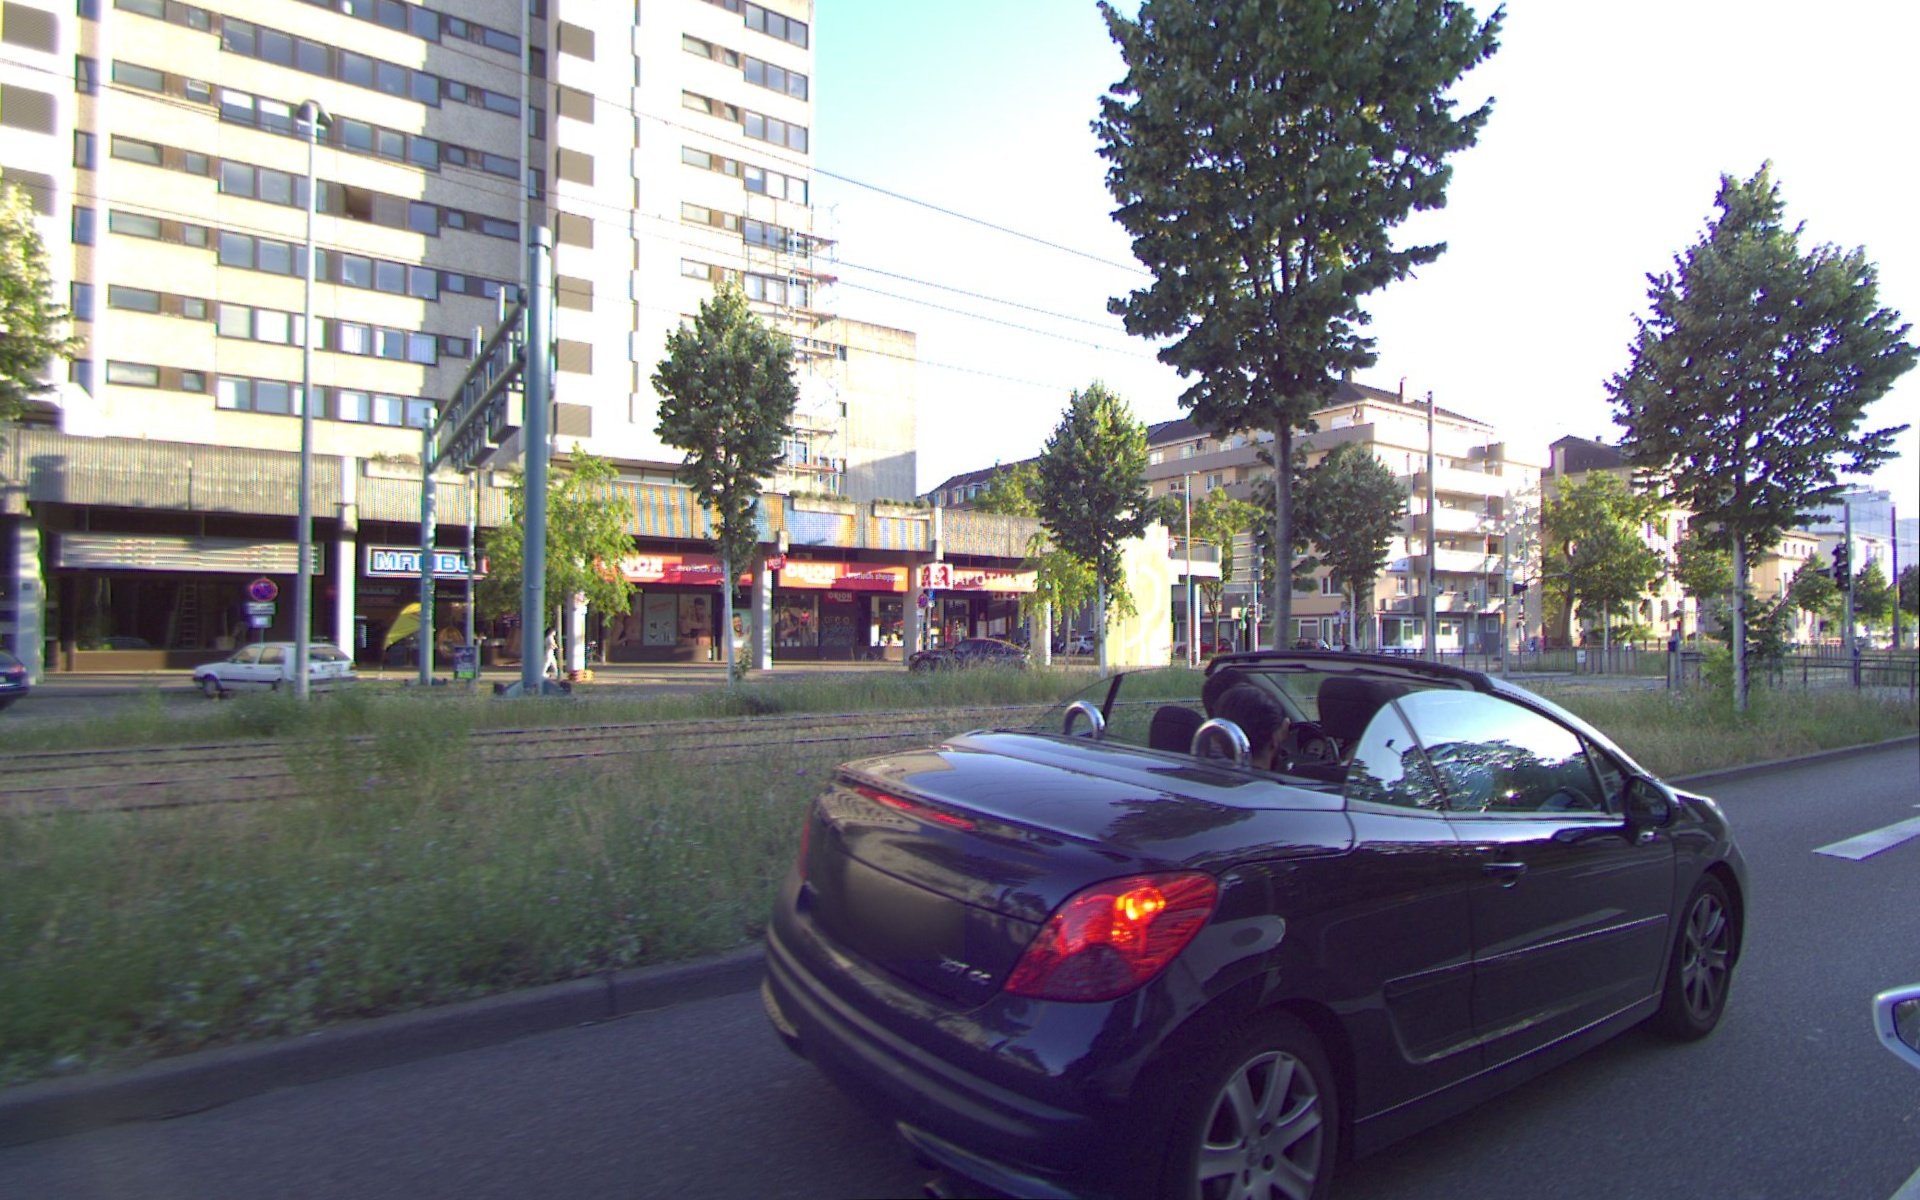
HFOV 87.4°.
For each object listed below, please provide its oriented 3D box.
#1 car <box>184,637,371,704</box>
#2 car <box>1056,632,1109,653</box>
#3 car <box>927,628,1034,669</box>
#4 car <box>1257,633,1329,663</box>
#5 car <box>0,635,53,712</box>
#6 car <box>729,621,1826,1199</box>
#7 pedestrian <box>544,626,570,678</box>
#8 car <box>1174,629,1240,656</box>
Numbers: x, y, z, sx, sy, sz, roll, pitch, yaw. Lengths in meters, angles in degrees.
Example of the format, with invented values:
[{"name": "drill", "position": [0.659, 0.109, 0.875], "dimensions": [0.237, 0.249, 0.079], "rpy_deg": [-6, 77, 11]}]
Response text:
[{"name": "car", "position": [-17.489, 1.759, 25.769], "dimensions": [4.048, 1.455, 1.826], "rpy_deg": [1, 0, 17]}, {"name": "car", "position": [10.337, 3.579, 85.041], "dimensions": [2.095, 1.778, 4.301], "rpy_deg": [1, -2, -35]}, {"name": "car", "position": [0.767, 1.788, 37.673], "dimensions": [3.658, 1.469, 1.744], "rpy_deg": [-1, -2, 23]}, {"name": "car", "position": [21.624, 3.096, 65.330], "dimensions": [2.169, 1.870, 3.909], "rpy_deg": [1, -2, -35]}, {"name": "car", "position": [-22.439, 1.581, 21.900], "dimensions": [4.199, 1.611, 2.010], "rpy_deg": [0, -2, 16]}, {"name": "car", "position": [1.321, 0.830, 3.583], "dimensions": [3.859, 1.469, 1.709], "rpy_deg": [0, -1, -33]}, {"name": "pedestrian", "position": [-13.479, 1.728, 33.611], "dimensions": [0.654, 1.683, 0.660], "rpy_deg": [1, 2, -33]}, {"name": "car", "position": [18.094, 3.118, 73.776], "dimensions": [2.144, 1.792, 4.303], "rpy_deg": [-1, -3, -34]}]
